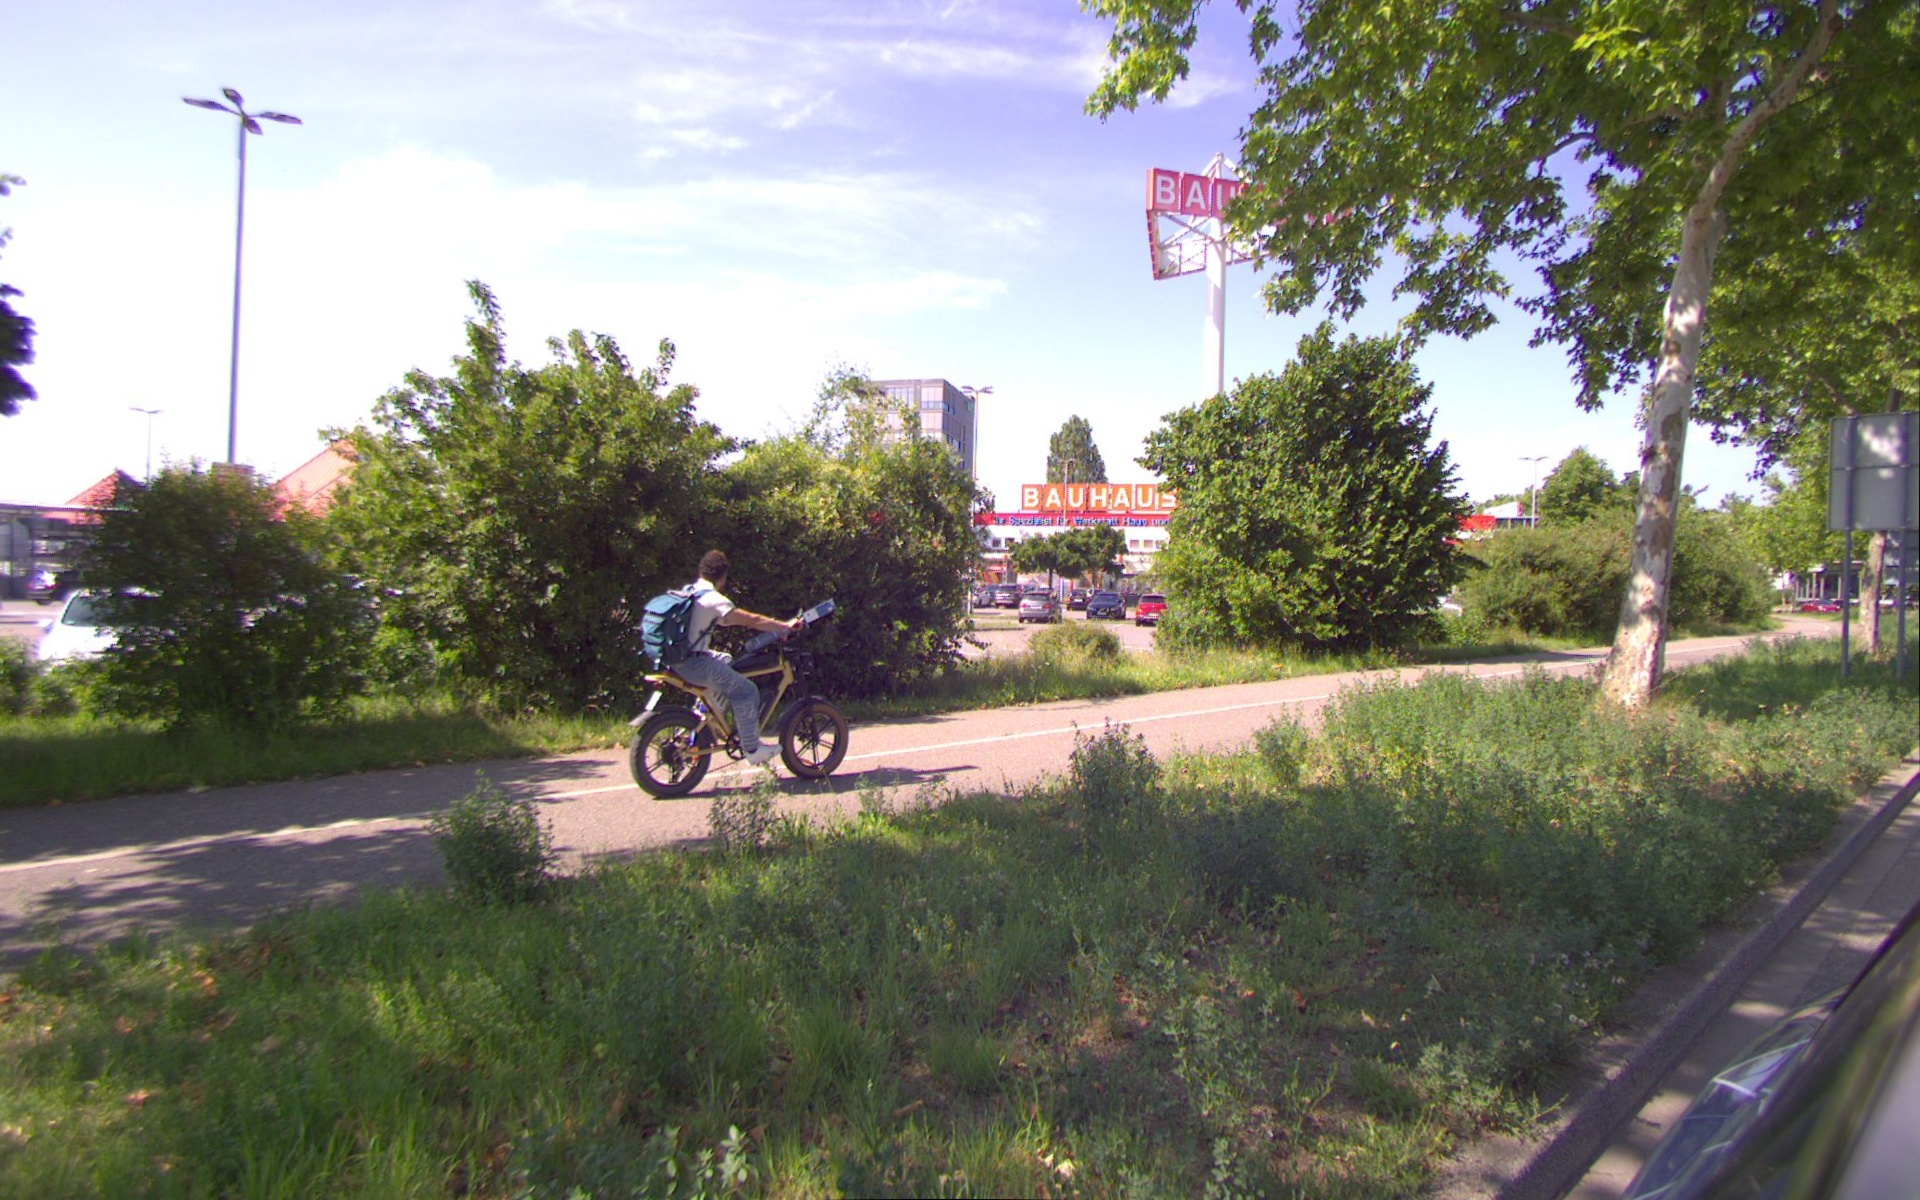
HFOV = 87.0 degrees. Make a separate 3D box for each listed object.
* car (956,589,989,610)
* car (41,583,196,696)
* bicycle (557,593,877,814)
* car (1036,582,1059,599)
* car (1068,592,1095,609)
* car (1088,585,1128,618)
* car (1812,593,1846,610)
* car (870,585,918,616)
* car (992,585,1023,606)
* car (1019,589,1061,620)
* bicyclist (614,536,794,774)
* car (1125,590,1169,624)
[{"bbox_3d":[0.864,-0.031,68.800,1.545,1.396,3.606,0,0,12],"label":"car"},{"bbox_3d":[-12.444,0.479,14.890,1.578,1.438,3.992,0,1,-42],"label":"car"},{"bbox_3d":[-1.630,0.615,7.042,2.059,1.315,0.724,-1,1,-40],"label":"bicycle"},{"bbox_3d":[7.477,-0.793,86.063,1.545,1.396,3.606,0,0,12],"label":"car"},{"bbox_3d":[8.136,0.049,67.413,1.495,1.073,3.175,-1,0,12],"label":"car"},{"bbox_3d":[8.202,0.063,55.760,1.606,1.648,4.737,2,1,14],"label":"car"},{"bbox_3d":[81.667,0.127,95.149,1.634,1.621,3.570,0,1,27],"label":"car"},{"bbox_3d":[-3.350,0.009,52.270,1.655,1.565,3.778,0,0,10],"label":"car"},{"bbox_3d":[3.250,-0.309,68.722,1.545,1.396,3.606,0,0,12],"label":"car"},{"bbox_3d":[4.026,0.194,50.316,1.752,1.505,3.778,0,0,10],"label":"car"},{"bbox_3d":[-1.755,0.336,6.960,0.992,1.496,0.705,-1,0,-40],"label":"bicyclist"},{"bbox_3d":[9.212,0.324,49.712,1.970,1.527,3.985,1,1,13],"label":"car"}]
